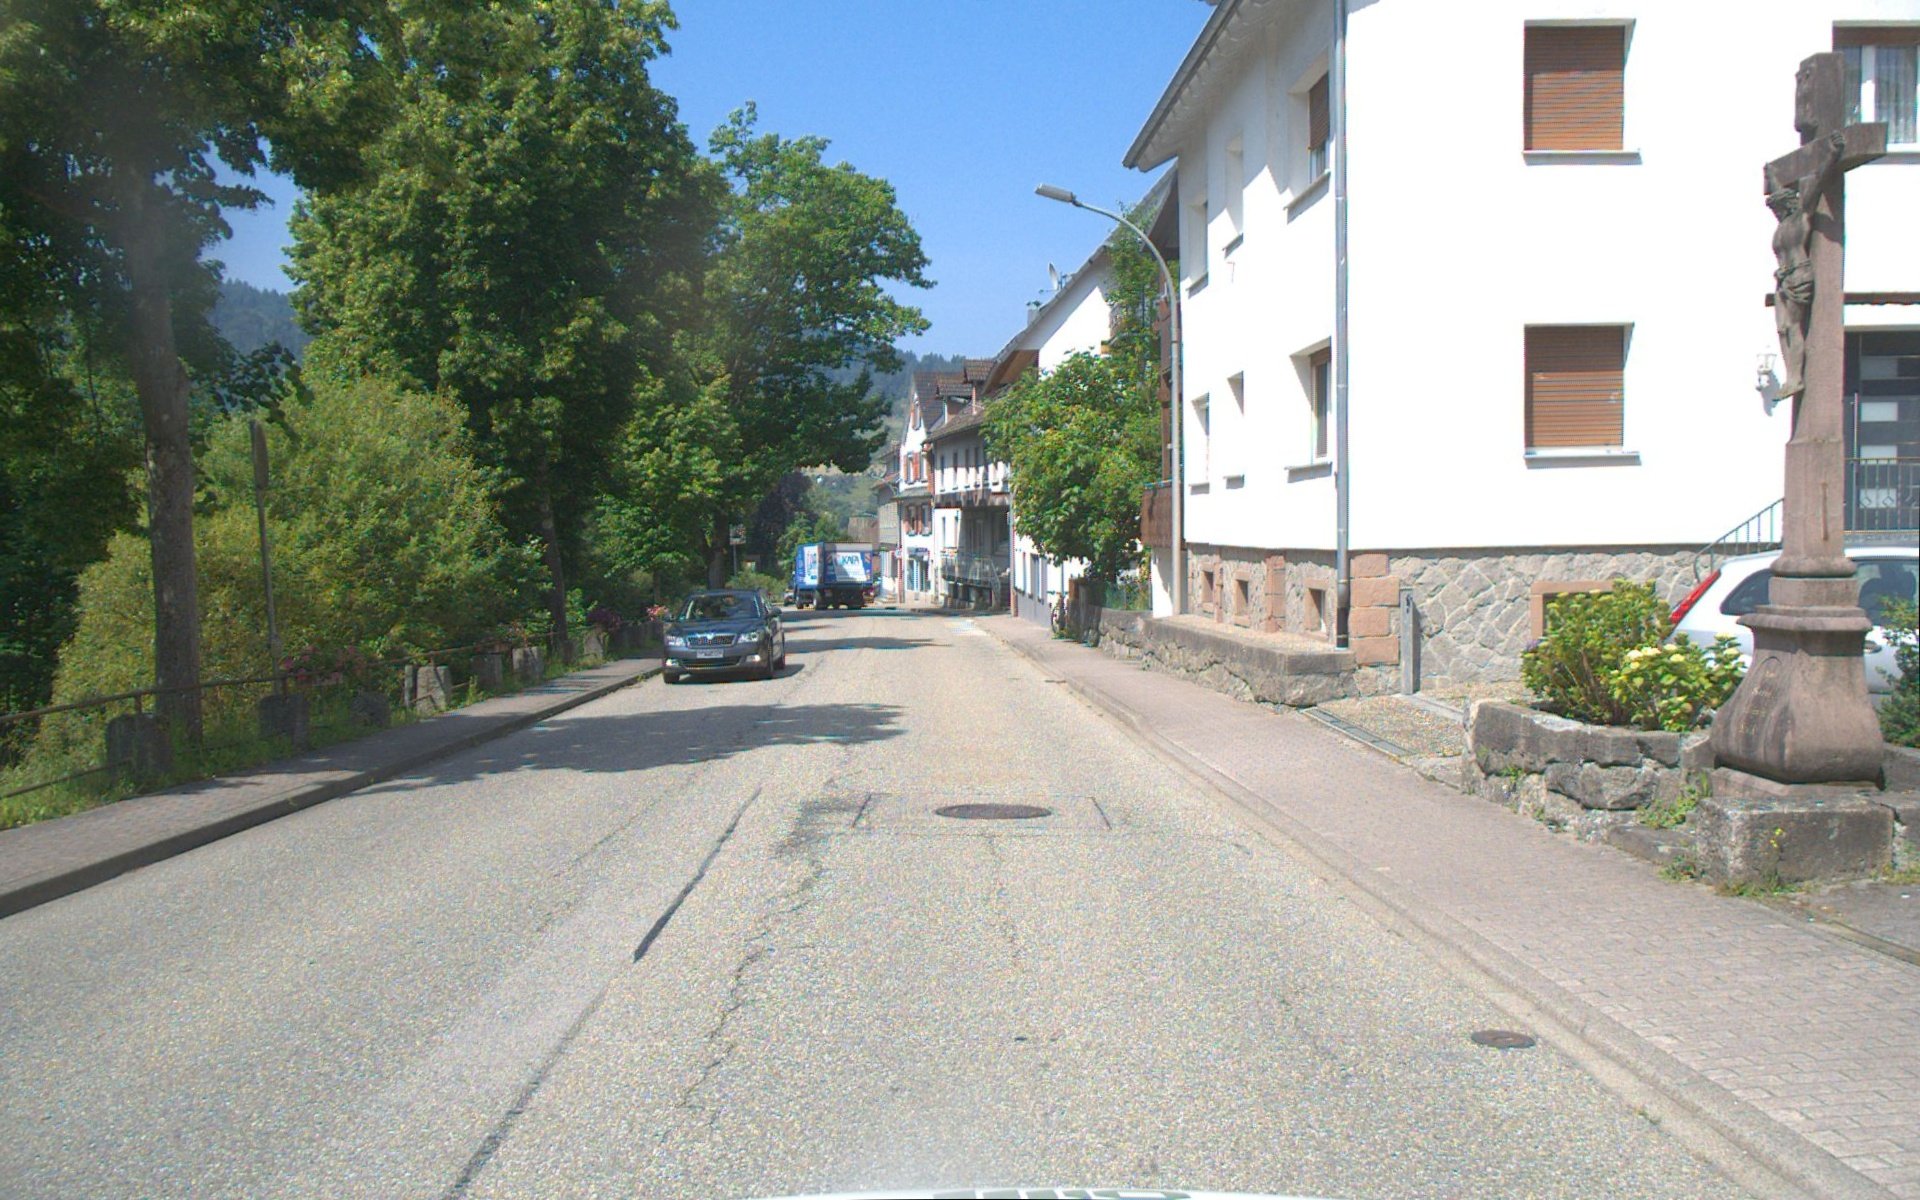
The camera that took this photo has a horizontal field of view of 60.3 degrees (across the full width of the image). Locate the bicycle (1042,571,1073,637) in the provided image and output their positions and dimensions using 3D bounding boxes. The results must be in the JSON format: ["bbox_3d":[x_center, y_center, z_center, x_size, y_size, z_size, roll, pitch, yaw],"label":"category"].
[{"bbox_3d":[2.187,0.071,37.228,0.417,1.420,2.276,-4,1,-1],"label":"bicycle"}]

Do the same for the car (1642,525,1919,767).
[{"bbox_3d":[6.710,0.265,10.967,3.712,1.451,1.600,0,5,44],"label":"car"}]

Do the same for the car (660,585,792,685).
[{"bbox_3d":[-3.783,0.523,27.343,1.633,1.442,4.085,-3,0,-1],"label":"car"}]

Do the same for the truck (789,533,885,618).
[{"bbox_3d":[-6.610,-1.195,87.492,3.309,3.847,8.404,-4,-1,-15],"label":"truck"}]

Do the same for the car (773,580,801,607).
[{"bbox_3d":[-12.803,-0.451,122.221,1.742,1.764,3.991,-4,-1,-9],"label":"car"}]
